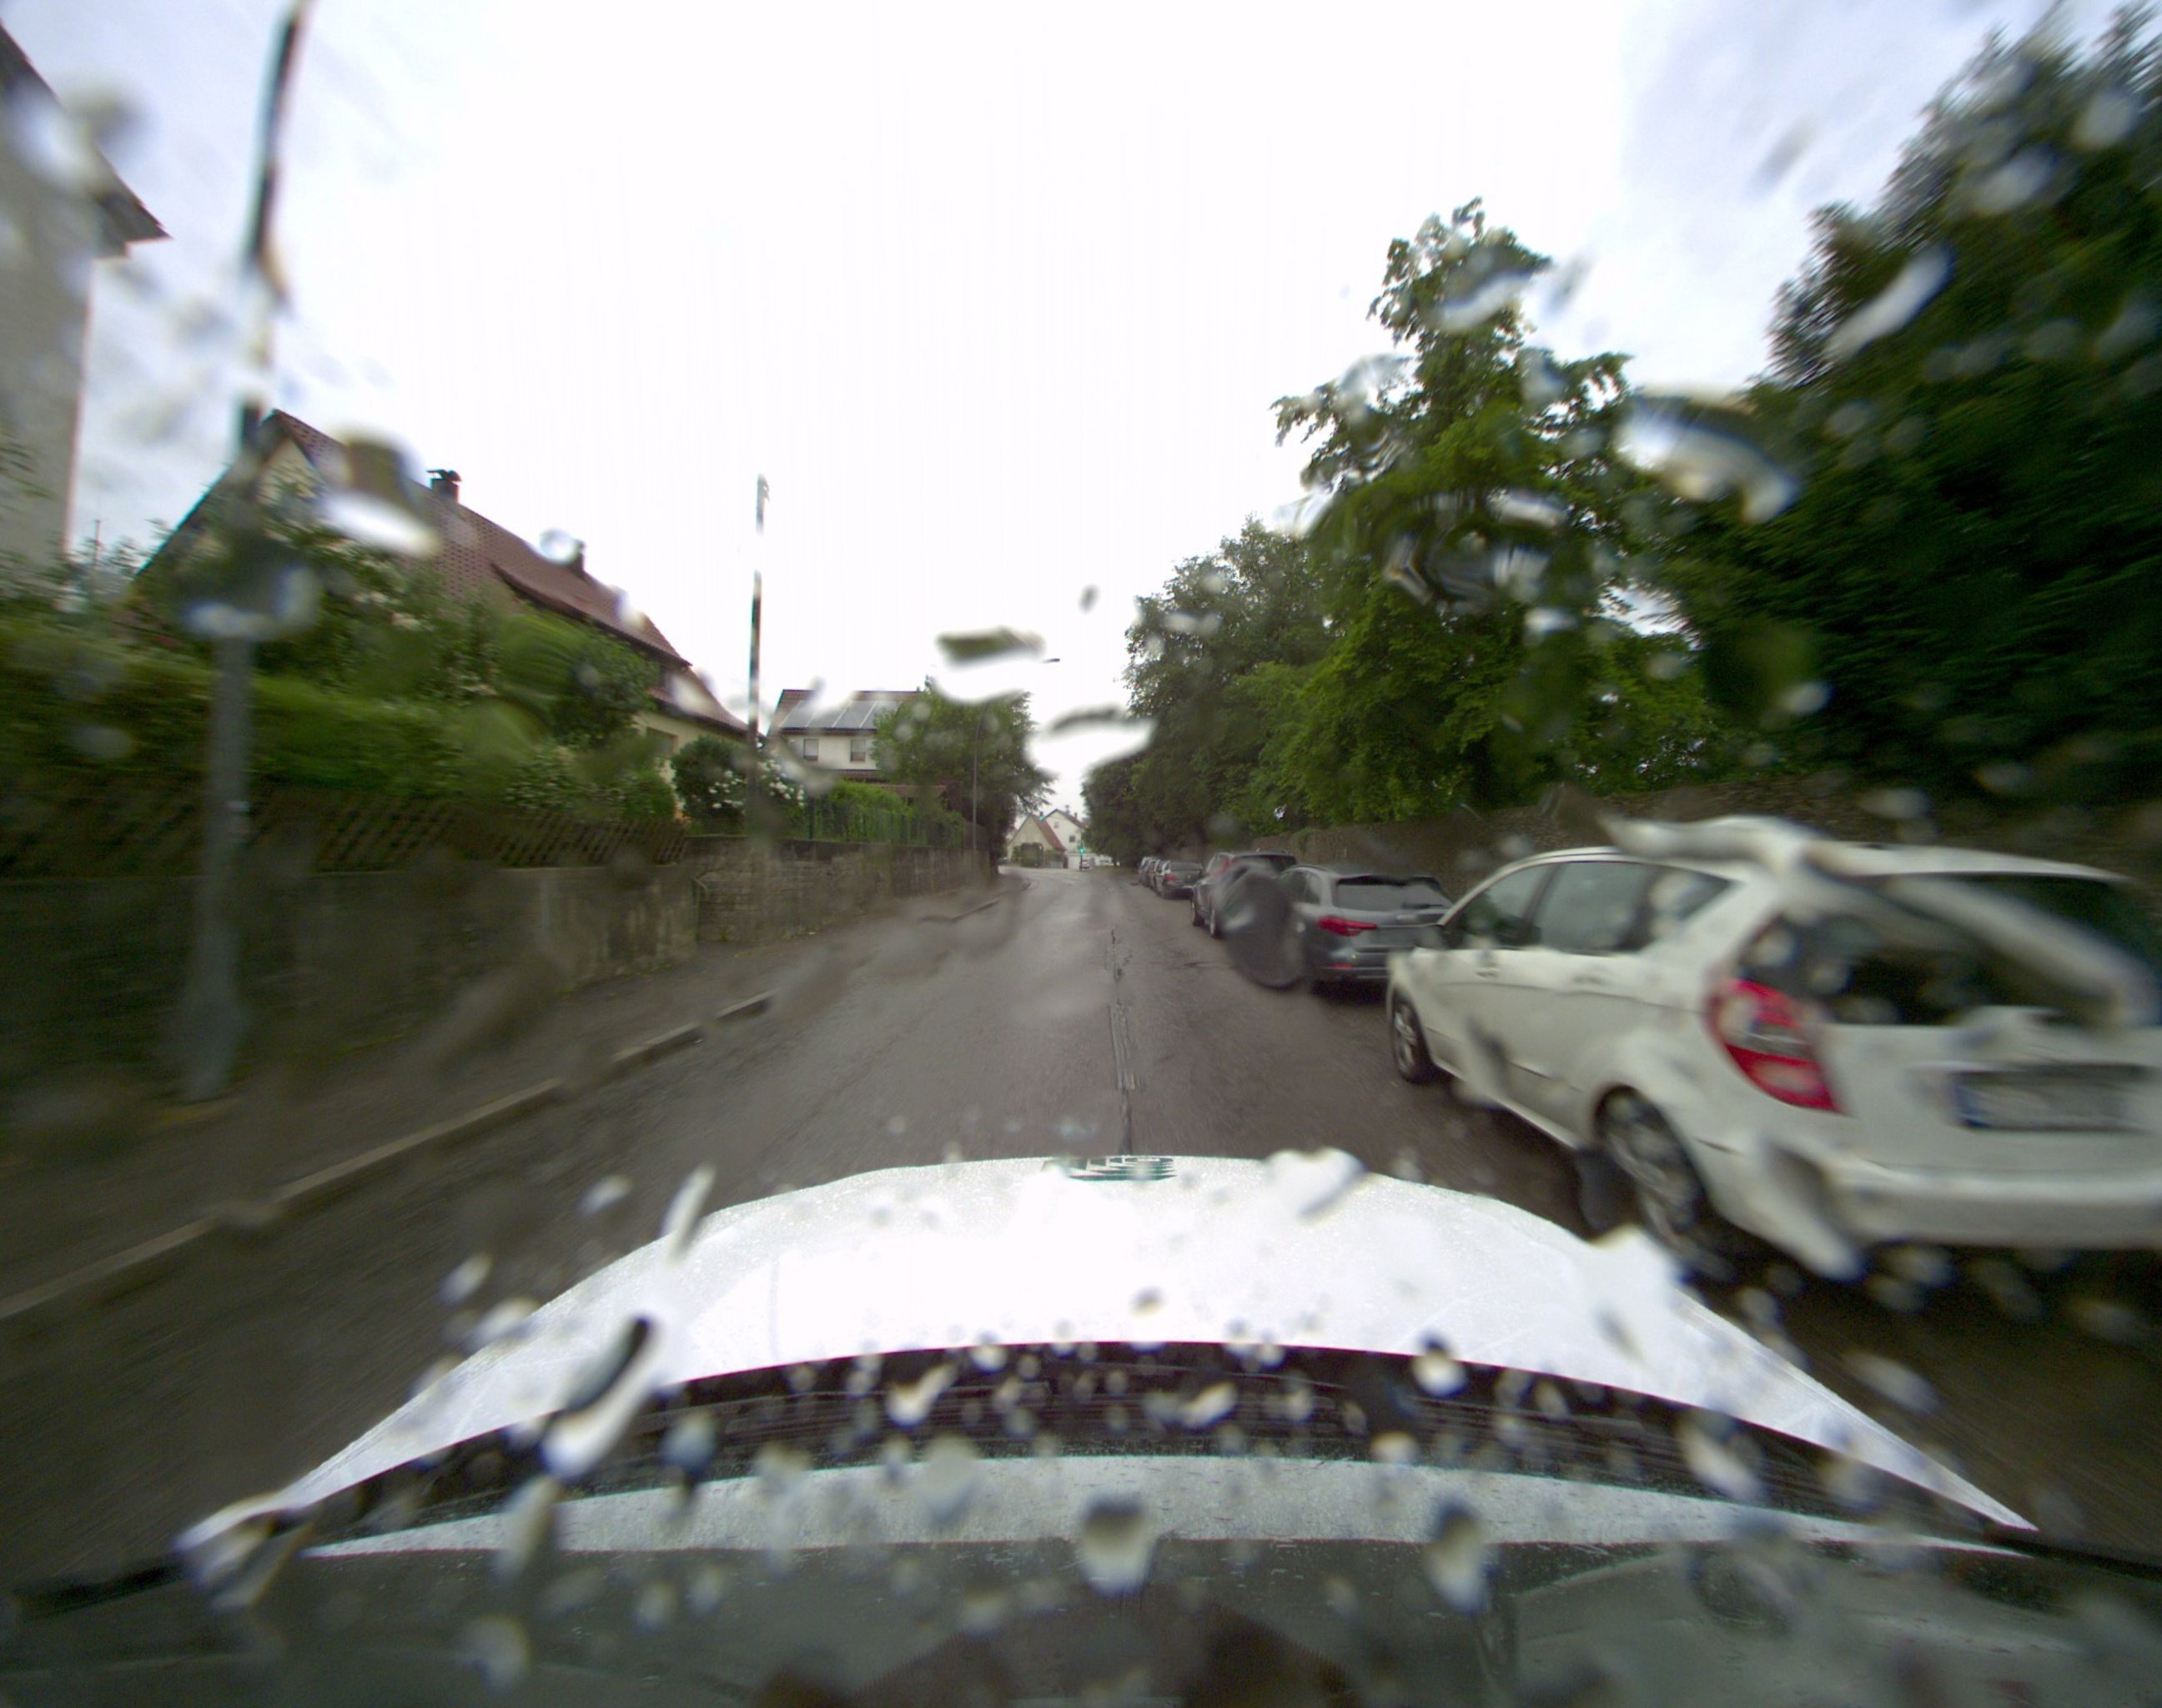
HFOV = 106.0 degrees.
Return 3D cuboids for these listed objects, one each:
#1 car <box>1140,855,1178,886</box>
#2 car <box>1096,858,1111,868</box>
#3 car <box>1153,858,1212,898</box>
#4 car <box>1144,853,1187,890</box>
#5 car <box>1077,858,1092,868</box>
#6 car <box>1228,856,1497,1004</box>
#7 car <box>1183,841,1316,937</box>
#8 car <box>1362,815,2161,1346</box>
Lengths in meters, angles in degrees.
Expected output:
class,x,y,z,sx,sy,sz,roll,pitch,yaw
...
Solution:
class,x,y,z,sx,sy,sz,roll,pitch,yaw
car,3.925,0.829,41.493,1.641,1.497,4.247,1,-1,1
car,3.333,1.364,120.697,1.898,1.442,4.005,0,0,5
car,3.701,0.847,30.410,1.647,1.371,4.180,0,0,-1
car,3.692,0.777,36.072,1.641,1.497,3.710,1,-1,1
car,0.595,1.359,121.167,1.898,1.442,4.005,0,0,5
car,3.211,0.771,10.392,1.759,1.447,4.694,0,-1,-1
car,3.238,0.645,16.508,1.736,1.668,4.496,0,-1,-1
car,2.999,0.695,4.377,1.807,1.573,3.883,0,-1,3
